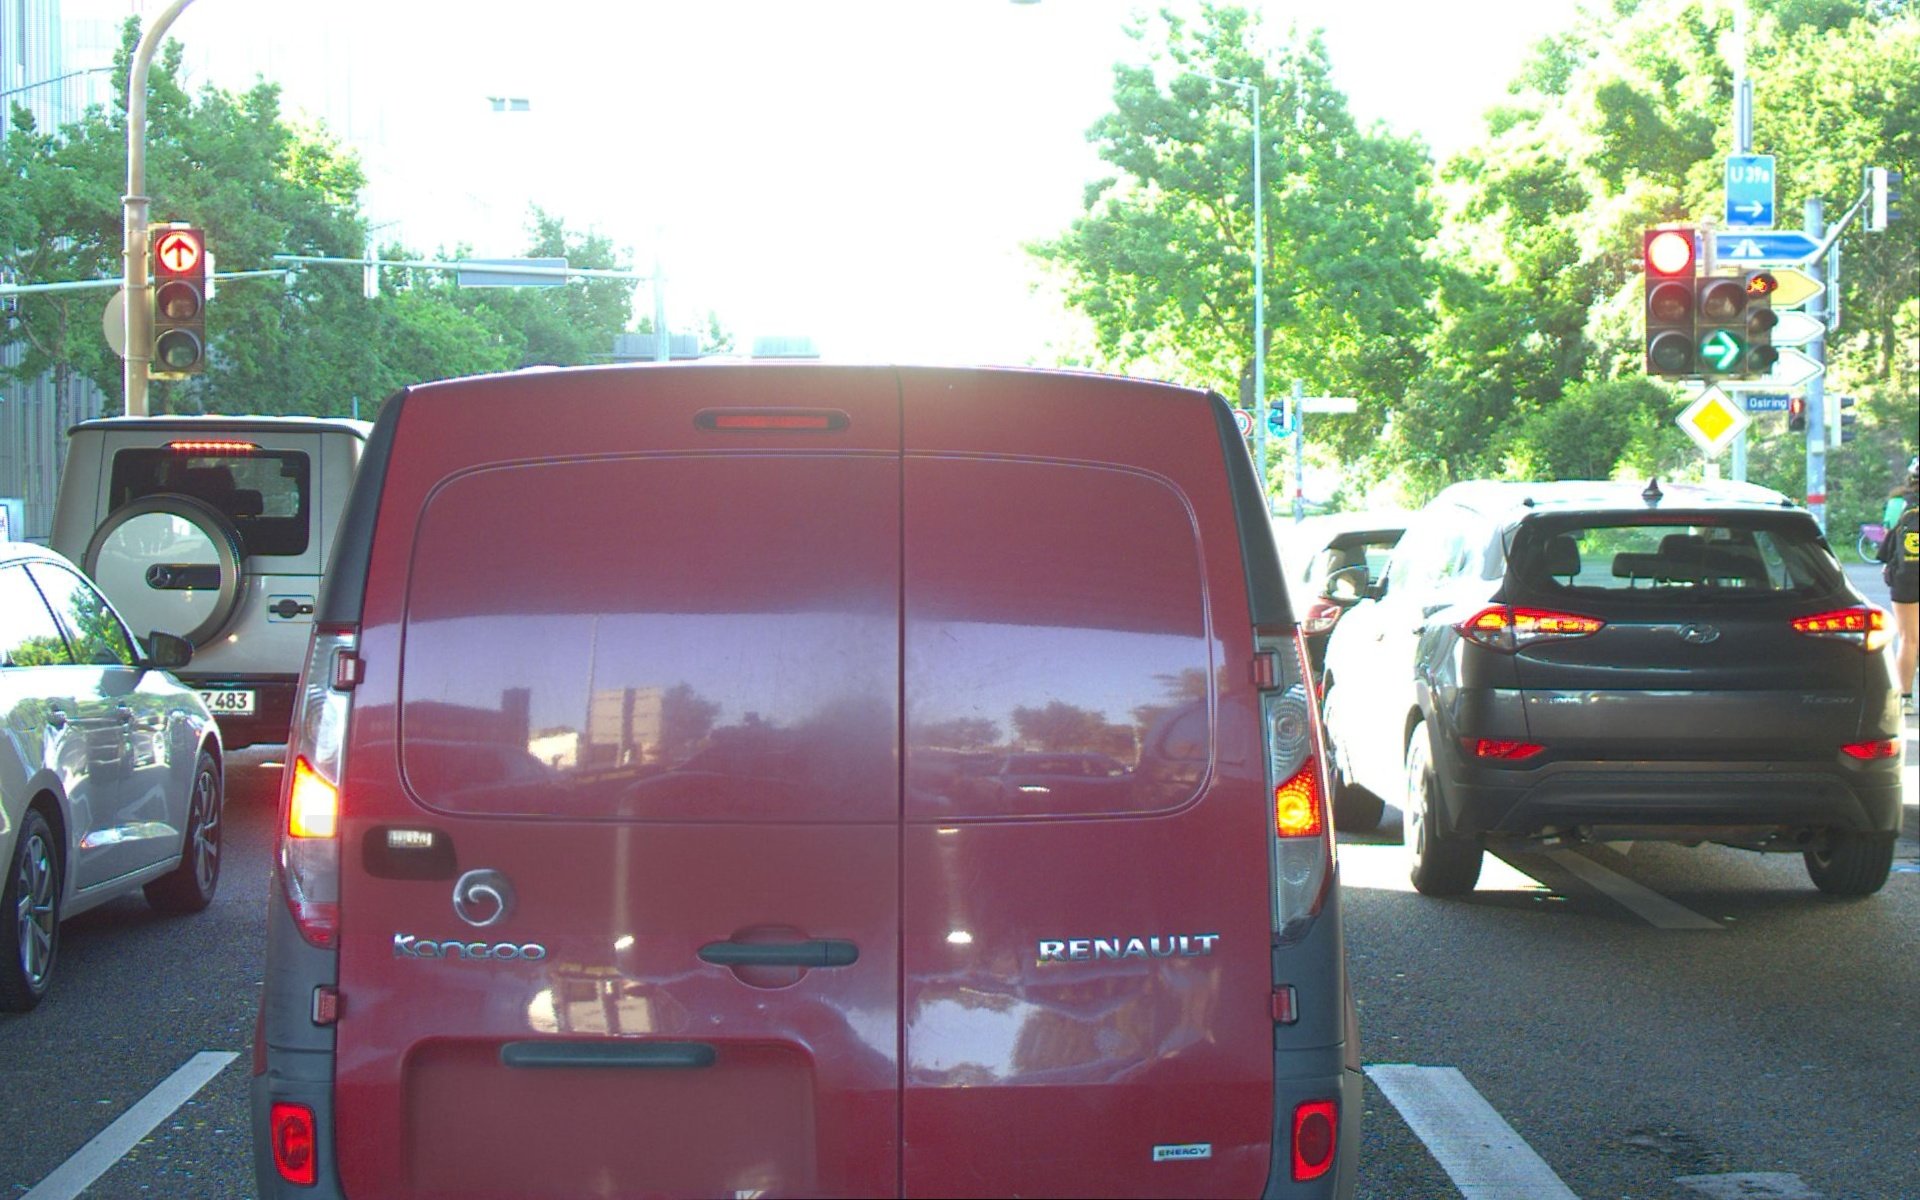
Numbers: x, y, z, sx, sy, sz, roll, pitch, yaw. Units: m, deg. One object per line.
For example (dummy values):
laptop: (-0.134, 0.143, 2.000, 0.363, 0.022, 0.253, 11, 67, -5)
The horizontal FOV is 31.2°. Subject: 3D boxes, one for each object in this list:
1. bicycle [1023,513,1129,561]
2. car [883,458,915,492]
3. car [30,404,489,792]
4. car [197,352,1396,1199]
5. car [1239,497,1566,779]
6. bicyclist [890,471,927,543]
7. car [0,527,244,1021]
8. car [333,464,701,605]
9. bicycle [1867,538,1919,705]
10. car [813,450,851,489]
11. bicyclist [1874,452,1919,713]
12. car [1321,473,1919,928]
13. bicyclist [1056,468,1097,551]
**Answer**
bicycle: (2.153, -1.170, 63.905, 1.953, 0.871, 0.699, 0, 1, 0)
car: (-3.906, -8.013, 220.654, 1.993, 2.007, 4.000, 1, 1, -1)
car: (-3.724, -0.050, 18.912, 1.813, 1.897, 3.814, 1, 1, -1)
car: (-0.263, 0.491, 6.979, 1.719, 1.758, 4.000, 1, 1, -1)
car: (2.658, 0.158, 21.390, 1.652, 1.546, 3.864, 1, 2, 2)
bicyclist: (-0.970, -1.740, 64.622, 0.652, 1.325, 0.603, 1, 1, -4)
car: (-3.617, 0.460, 11.495, 1.692, 1.405, 3.813, 1, 1, -1)
car: (-5.397, -0.792, 42.156, 4.346, 1.602, 2.000, 1, 1, -6)
bicycle: (6.171, 0.130, 21.779, 0.677, 1.020, 1.528, 1, 1, 10)
car: (-7.131, -7.253, 191.612, 1.993, 2.007, 4.000, 1, 1, -1)
bicyclist: (6.173, -0.107, 21.725, 0.677, 1.623, 0.644, 1, 1, 10)
car: (2.679, 0.322, 14.707, 1.778, 1.650, 3.991, -1, 1, -1)
bicyclist: (2.163, -1.672, 63.900, 0.755, 1.537, 0.697, 0, 1, 0)
